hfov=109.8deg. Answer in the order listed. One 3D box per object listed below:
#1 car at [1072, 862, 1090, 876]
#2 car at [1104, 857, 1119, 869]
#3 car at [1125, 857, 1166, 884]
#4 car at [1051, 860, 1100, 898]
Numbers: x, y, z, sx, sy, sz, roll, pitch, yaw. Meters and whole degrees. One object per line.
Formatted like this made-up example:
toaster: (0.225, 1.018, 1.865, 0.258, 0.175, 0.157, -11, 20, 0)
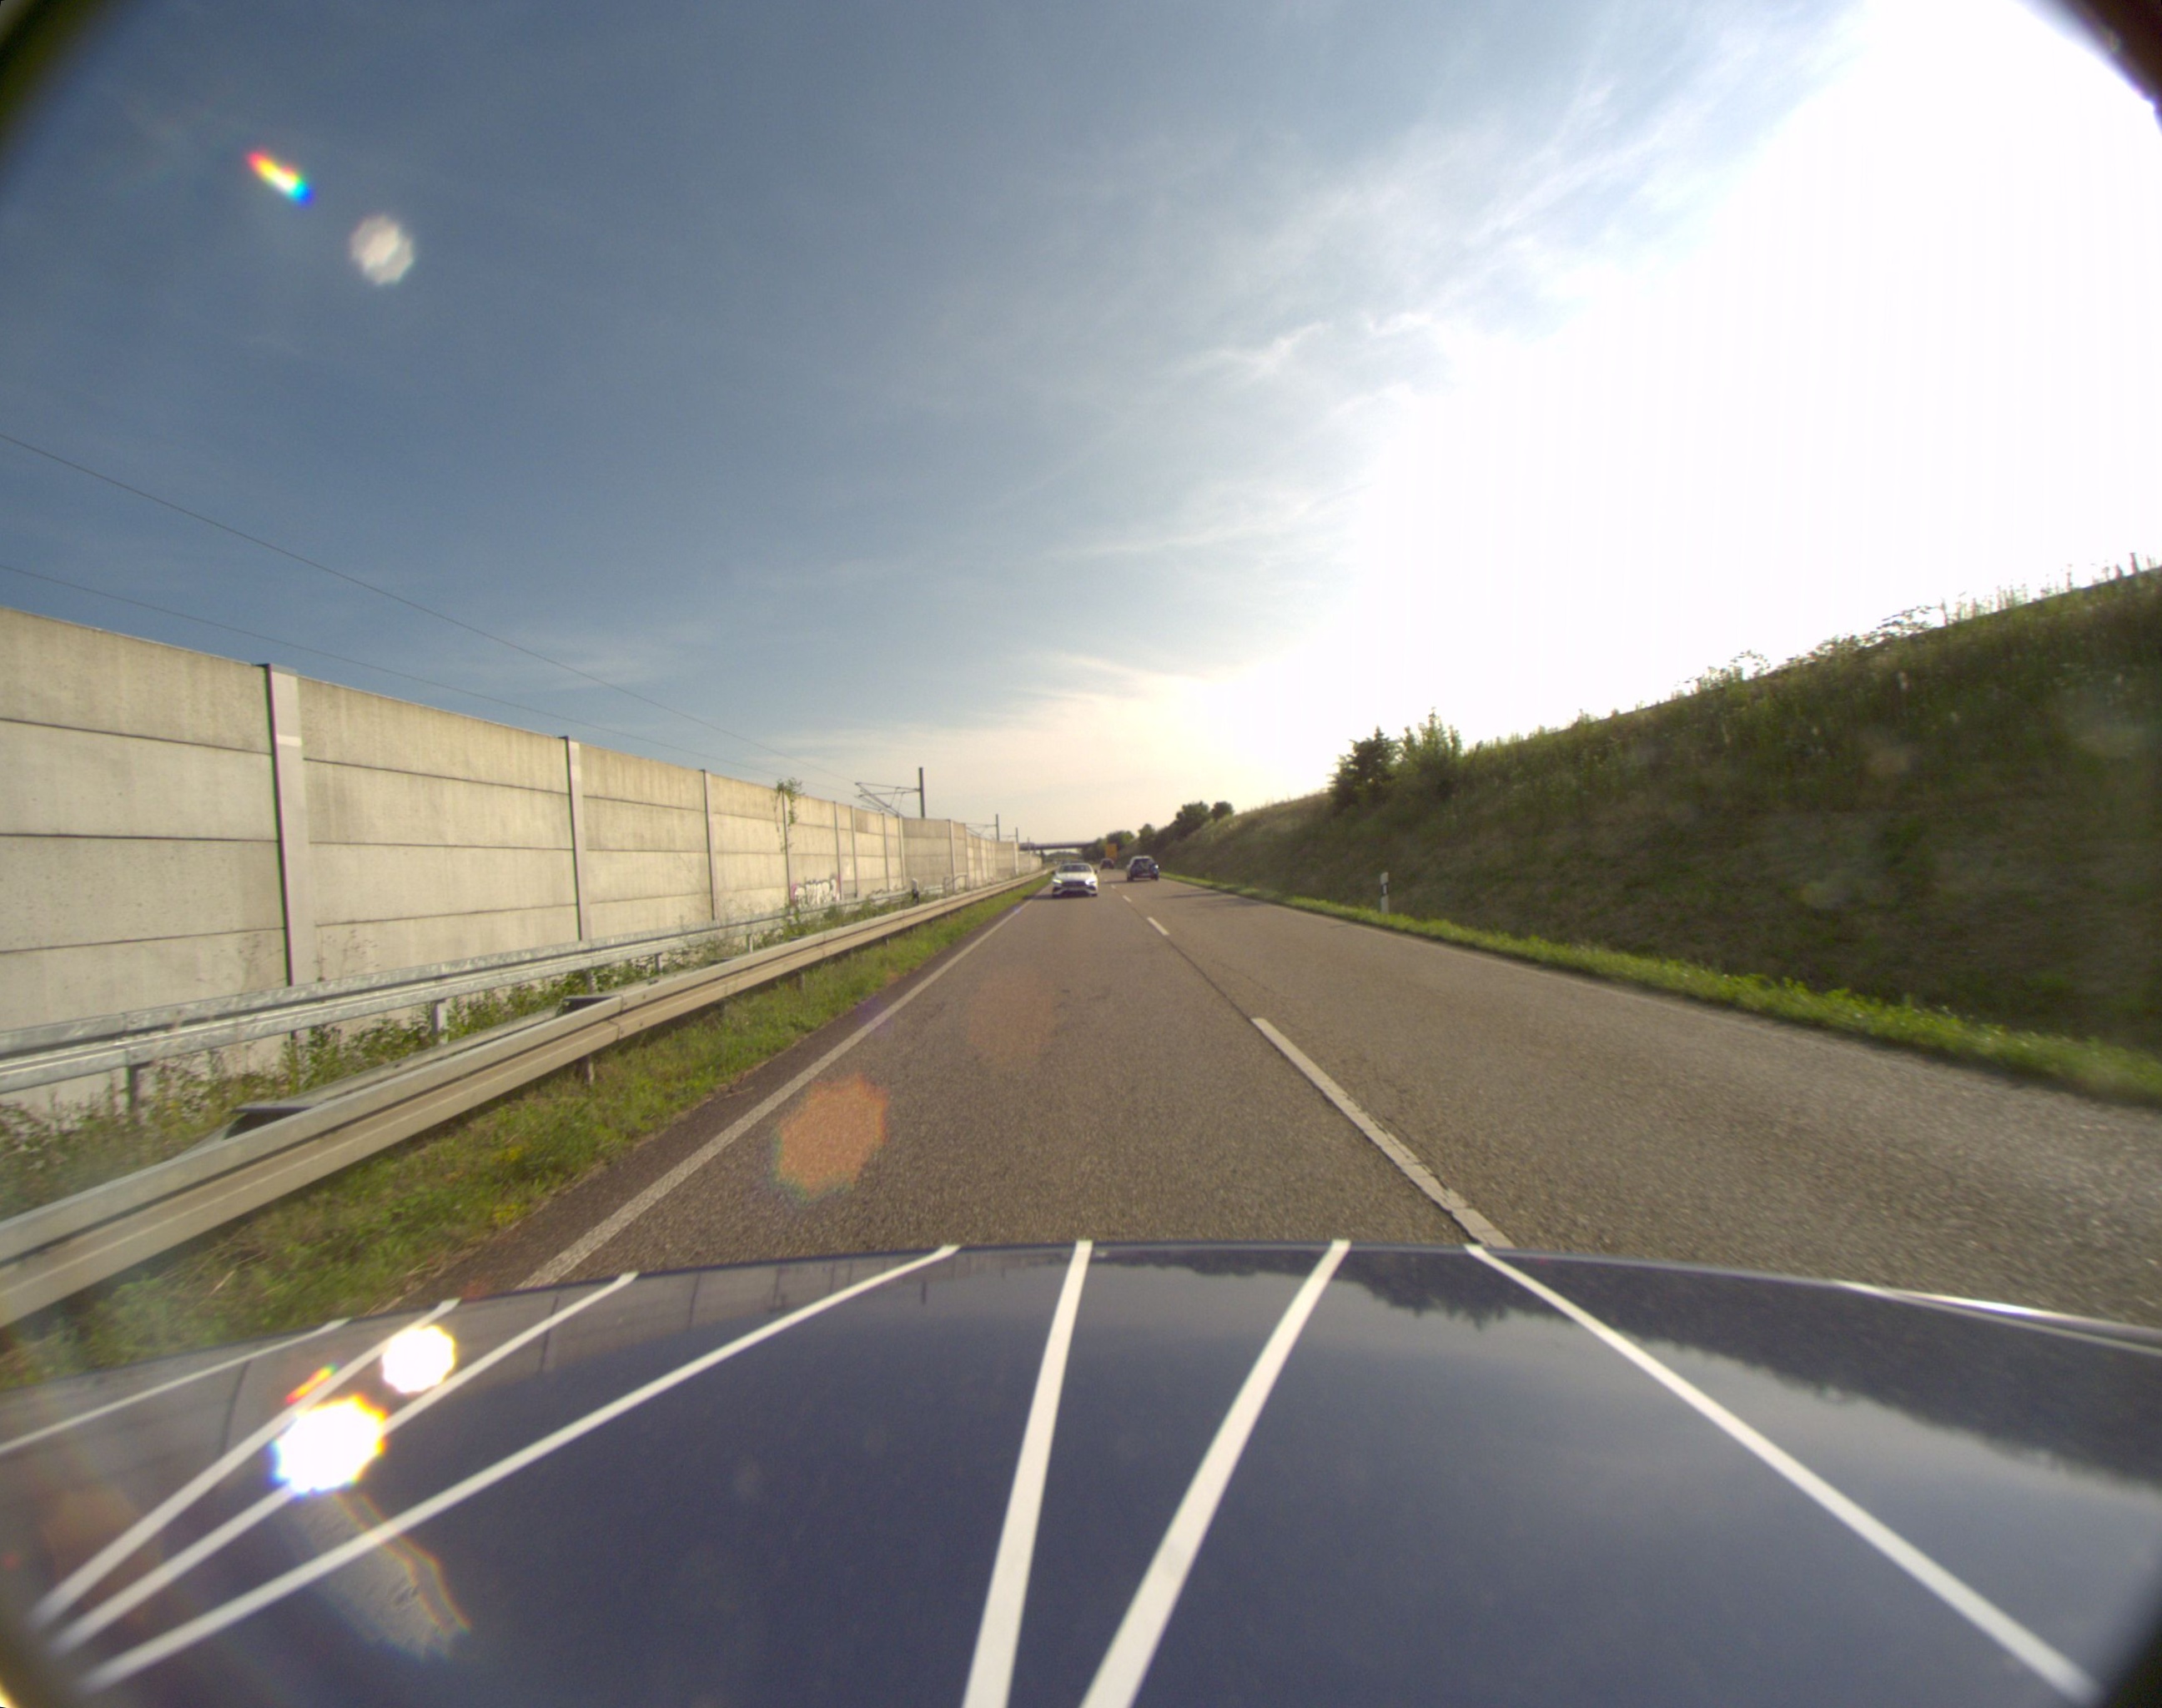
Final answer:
car: (0.042, 1.668, 86.399, 1.930, 1.399, 4.973, -2, 1, 0)
car: (4.021, 1.152, 100.382, 1.721, 1.445, 4.018, -3, 0, -1)
car: (4.067, 0.996, 48.942, 2.146, 1.564, 5.340, -2, 0, 0)
car: (-0.185, 1.028, 32.826, 1.930, 1.398, 4.974, -2, 0, 1)
